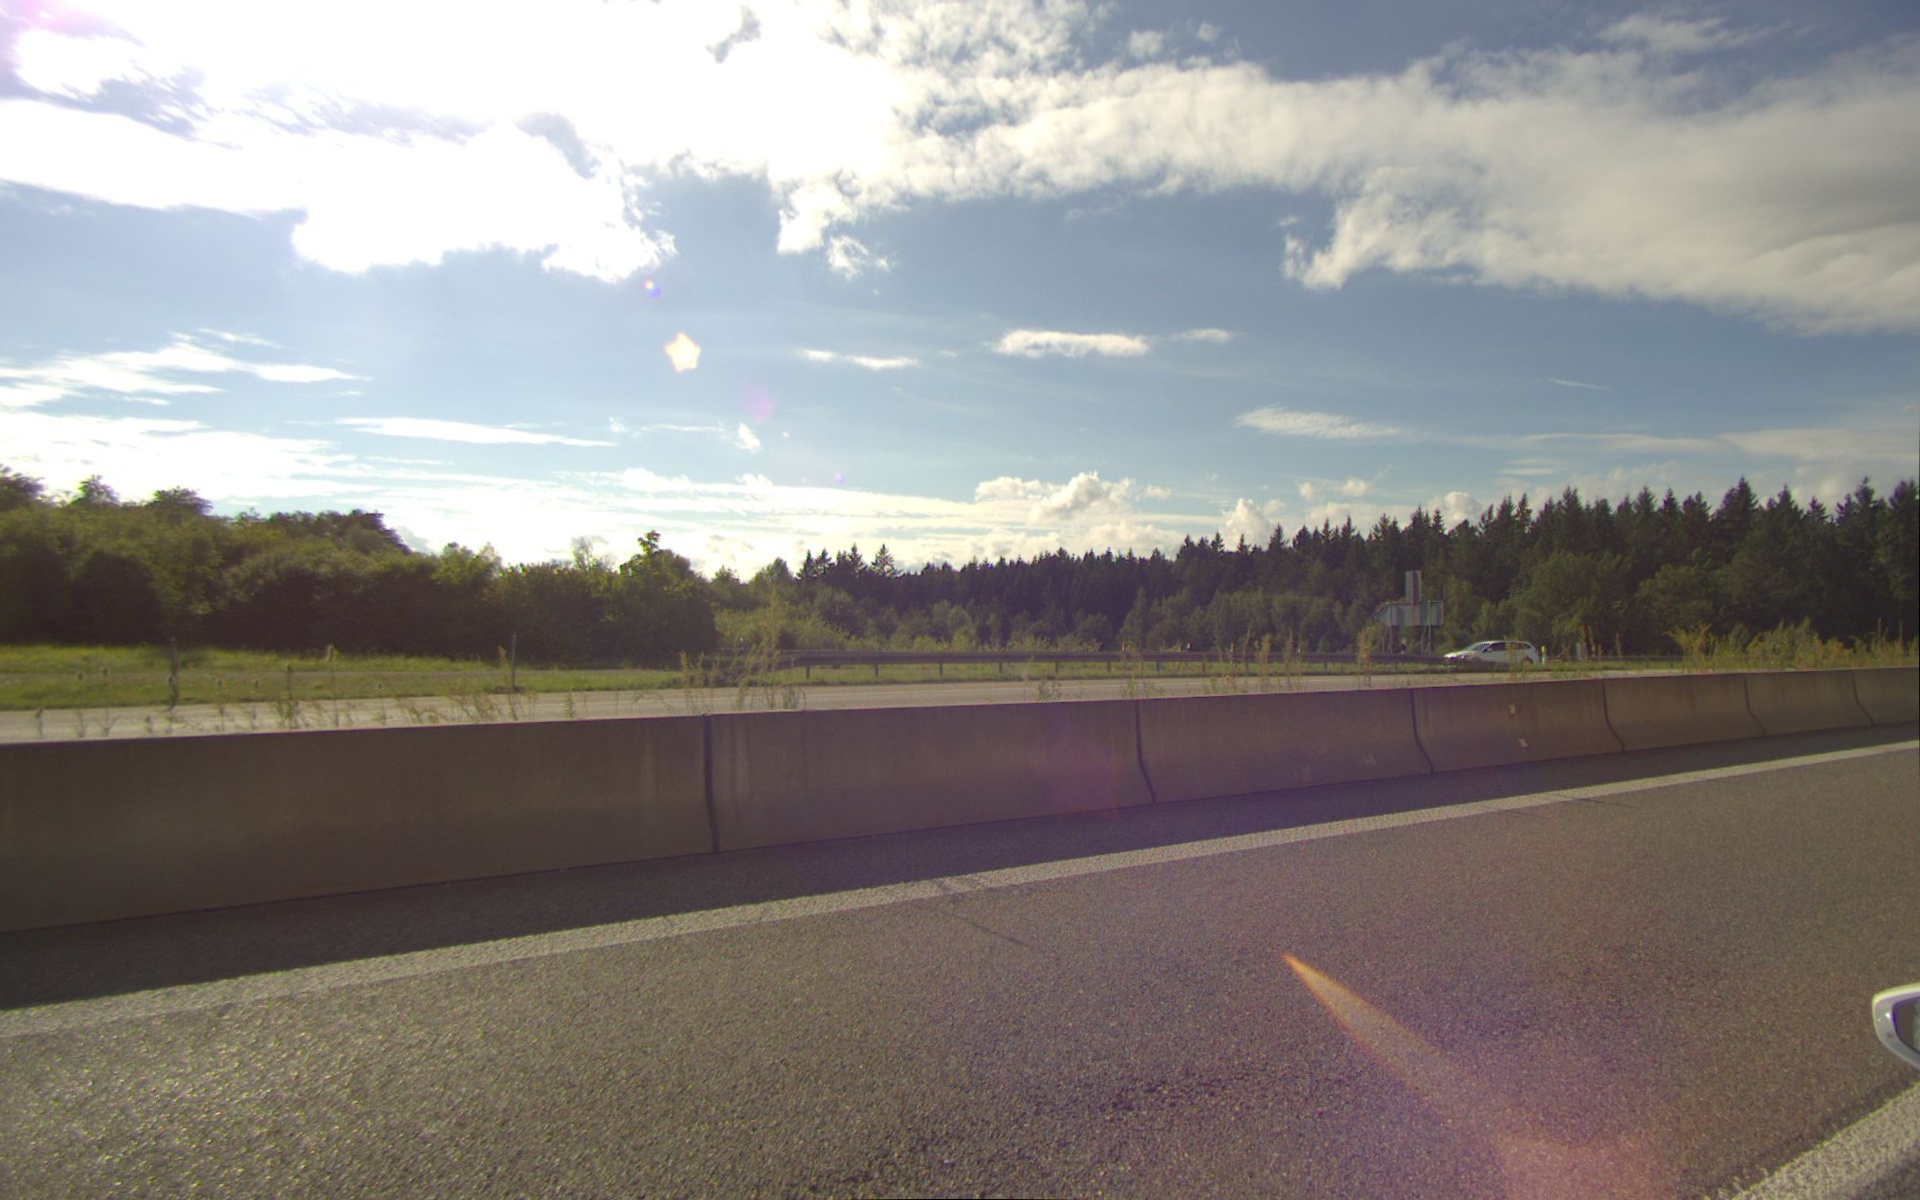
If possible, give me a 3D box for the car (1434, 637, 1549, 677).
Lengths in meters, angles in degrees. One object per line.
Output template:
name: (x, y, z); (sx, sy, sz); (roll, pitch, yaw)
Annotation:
car: (26.115, 2.786, 49.406); (4.891, 1.824, 1.995); (1, 0, -13)
